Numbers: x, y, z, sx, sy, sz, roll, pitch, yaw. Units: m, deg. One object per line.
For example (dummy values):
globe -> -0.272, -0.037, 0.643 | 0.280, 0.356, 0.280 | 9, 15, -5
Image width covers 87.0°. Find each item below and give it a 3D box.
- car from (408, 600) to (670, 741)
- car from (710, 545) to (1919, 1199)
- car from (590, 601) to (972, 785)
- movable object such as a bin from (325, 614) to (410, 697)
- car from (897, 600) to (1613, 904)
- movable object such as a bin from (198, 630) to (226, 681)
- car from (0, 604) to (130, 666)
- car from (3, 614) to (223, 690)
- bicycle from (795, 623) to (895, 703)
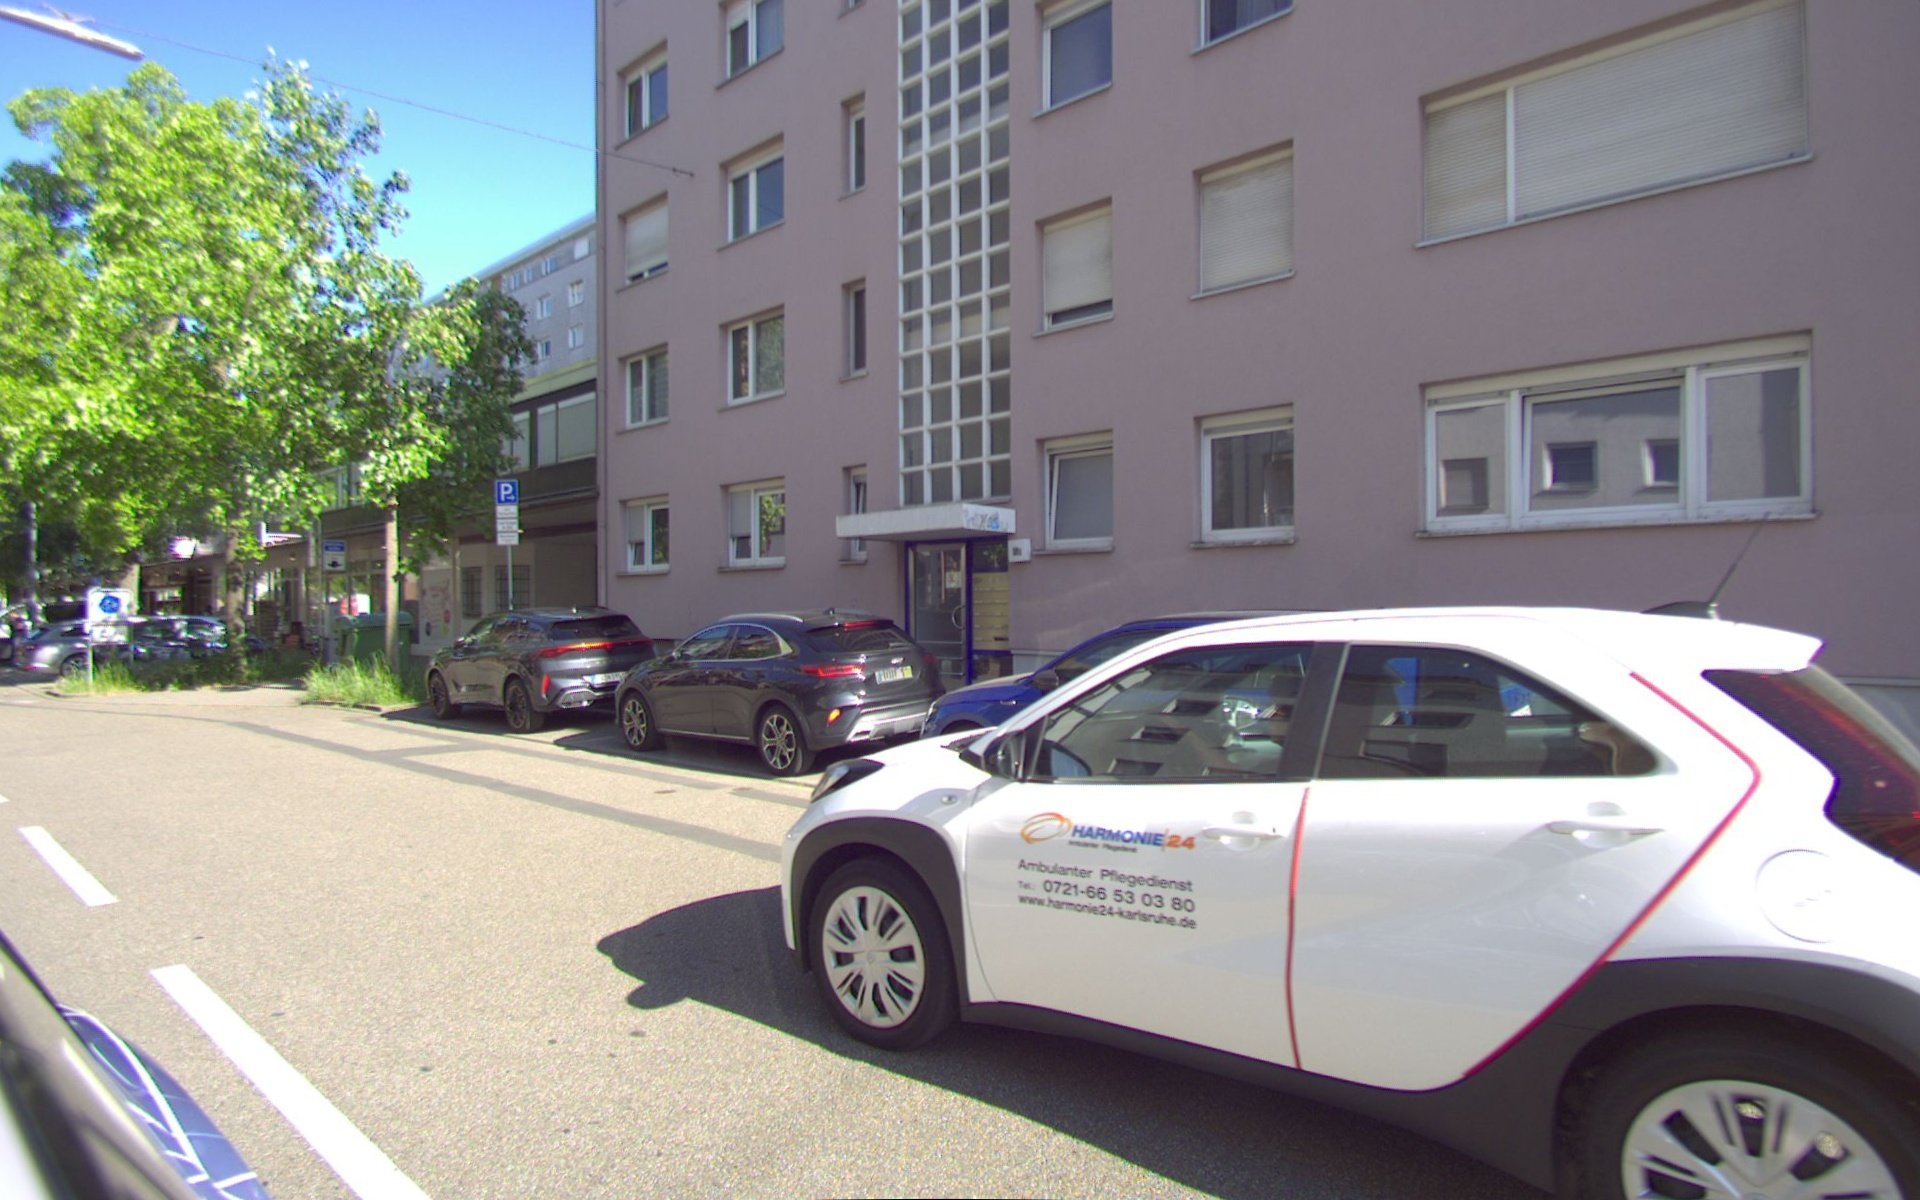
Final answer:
car -> -6.054, 0.886, 14.331 | 4.141, 1.604, 1.798 | -1, 2, 43
car -> 1.054, 0.704, 3.410 | 3.781, 1.548, 1.748 | -1, -1, 39
car -> -2.057, 0.834, 10.807 | 4.245, 1.519, 1.798 | -1, 1, 43
movable object such as a bin -> -11.577, 1.056, 19.773 | 1.230, 1.557, 1.019 | 0, -1, -44
car -> 1.802, 0.801, 7.225 | 4.610, 1.477, 1.699 | -1, 0, 41
movable object such as a bin -> -18.490, 1.373, 25.022 | 0.409, 1.234, 0.482 | -1, -1, 41
car -> -31.286, 1.159, 34.825 | 1.999, 2.047, 3.945 | -1, -1, 41
car -> -20.974, 1.219, 25.168 | 1.999, 1.687, 3.945 | -1, -1, 41
bicycle -> -1.690, 0.887, 14.711 | 1.649, 1.084, 0.387 | -1, 3, 42
